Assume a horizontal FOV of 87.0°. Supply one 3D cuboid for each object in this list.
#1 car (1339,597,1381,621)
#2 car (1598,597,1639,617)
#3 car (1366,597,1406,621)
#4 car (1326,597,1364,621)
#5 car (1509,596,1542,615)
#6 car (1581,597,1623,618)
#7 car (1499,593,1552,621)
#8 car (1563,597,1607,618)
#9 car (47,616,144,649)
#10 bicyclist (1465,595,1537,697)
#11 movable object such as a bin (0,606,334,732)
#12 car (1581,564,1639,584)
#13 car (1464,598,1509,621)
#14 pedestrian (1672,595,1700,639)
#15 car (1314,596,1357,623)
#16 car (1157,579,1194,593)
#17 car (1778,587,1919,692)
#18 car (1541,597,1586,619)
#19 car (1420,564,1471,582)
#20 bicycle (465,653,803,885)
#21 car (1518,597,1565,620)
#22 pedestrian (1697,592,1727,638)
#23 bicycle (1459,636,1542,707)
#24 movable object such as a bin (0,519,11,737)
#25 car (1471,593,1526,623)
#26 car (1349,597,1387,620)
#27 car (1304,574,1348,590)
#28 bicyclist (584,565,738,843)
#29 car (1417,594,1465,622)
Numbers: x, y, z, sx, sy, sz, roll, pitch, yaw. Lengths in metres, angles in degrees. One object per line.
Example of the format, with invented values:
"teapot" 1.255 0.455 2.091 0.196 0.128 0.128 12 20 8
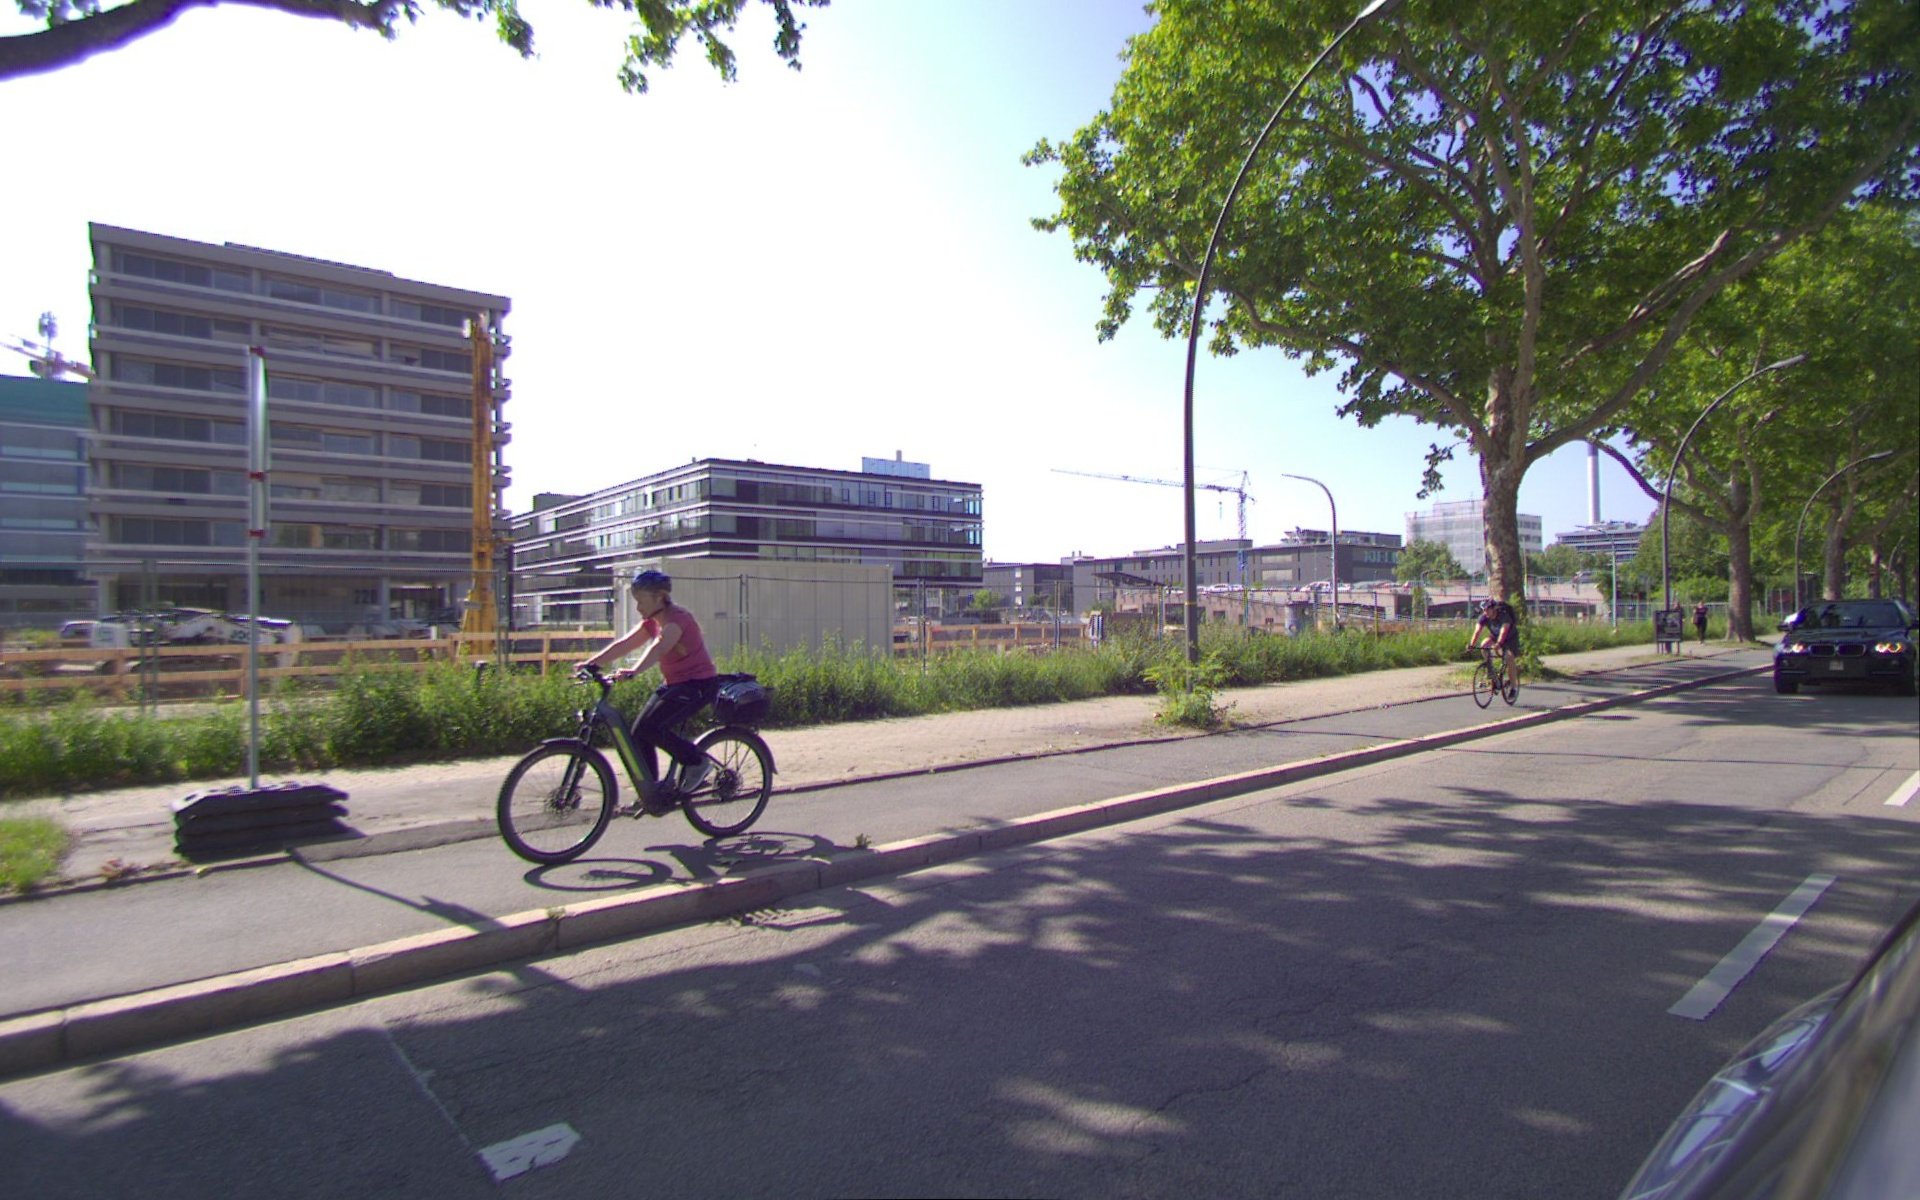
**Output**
"car" 45.869 1.048 116.102 1.779 2.774 3.989 1 -2 -44
"car" 82.309 0.882 126.509 1.779 2.352 3.989 1 -2 -44
"car" 50.782 1.032 120.763 1.779 2.774 3.989 1 -2 -44
"car" 47.316 1.119 124.452 1.779 2.774 3.989 1 -2 -44
"car" 85.541 0.914 153.003 1.779 2.774 3.989 1 -2 -44
"car" 77.272 0.899 121.805 1.779 2.352 3.989 1 -2 -44
"car" 57.671 0.770 103.308 1.779 2.774 4.366 1 -2 -44
"car" 72.428 0.916 117.315 1.779 2.352 3.989 1 -2 -44
"car" -51.417 1.914 60.326 4.356 1.794 1.795 0 -1 -40
"bicyclist" 8.401 0.691 15.700 1.194 1.508 0.599 1 1 -43
"movable object such as a bin" -37.158 3.087 47.438 11.557 5.243 6.752 -1 -1 2
"car" 56.667 -2.243 88.255 1.779 1.529 3.989 0 -2 -44
"car" 57.877 1.046 111.234 1.779 2.352 3.989 1 -2 -44
"pedestrian" 28.709 0.683 40.030 0.943 1.705 0.696 1 -2 -43
"car" 41.159 1.056 111.005 1.779 2.774 3.989 1 -2 -44
"car" 25.410 -1.603 119.316 1.779 1.529 3.989 0 -2 -44
"car" 16.976 0.696 18.898 4.079 1.753 1.922 0 -3 -41
"car" 67.308 0.936 112.880 1.779 2.352 3.989 1 -2 -44
"car" 46.125 -2.565 96.263 1.779 1.529 3.989 0 -2 -44
"bicycle" -1.965 0.950 6.306 1.912 1.144 0.652 0 0 -42
"car" 61.662 0.952 107.335 1.779 2.352 3.989 1 -2 -44
"pedestrian" 29.167 0.576 39.240 1.048 1.747 0.710 1 -2 -43
"bicycle" 8.409 1.081 15.713 1.751 0.992 0.598 0 1 -43
"movable object such as a bin" -16.532 0.424 13.297 5.886 3.111 2.370 0 -2 -44
"car" 52.520 0.789 98.700 1.779 2.774 4.366 1 -2 -44
"car" 52.099 1.107 129.273 1.779 2.774 3.989 1 -2 -44
"car" 39.000 -1.923 107.968 1.779 1.529 3.989 0 -2 -44
"bicyclist" -1.883 0.602 6.383 0.720 1.620 0.620 1 0 -43
"car" 48.861 0.866 102.888 1.779 2.774 3.989 1 -2 -44
